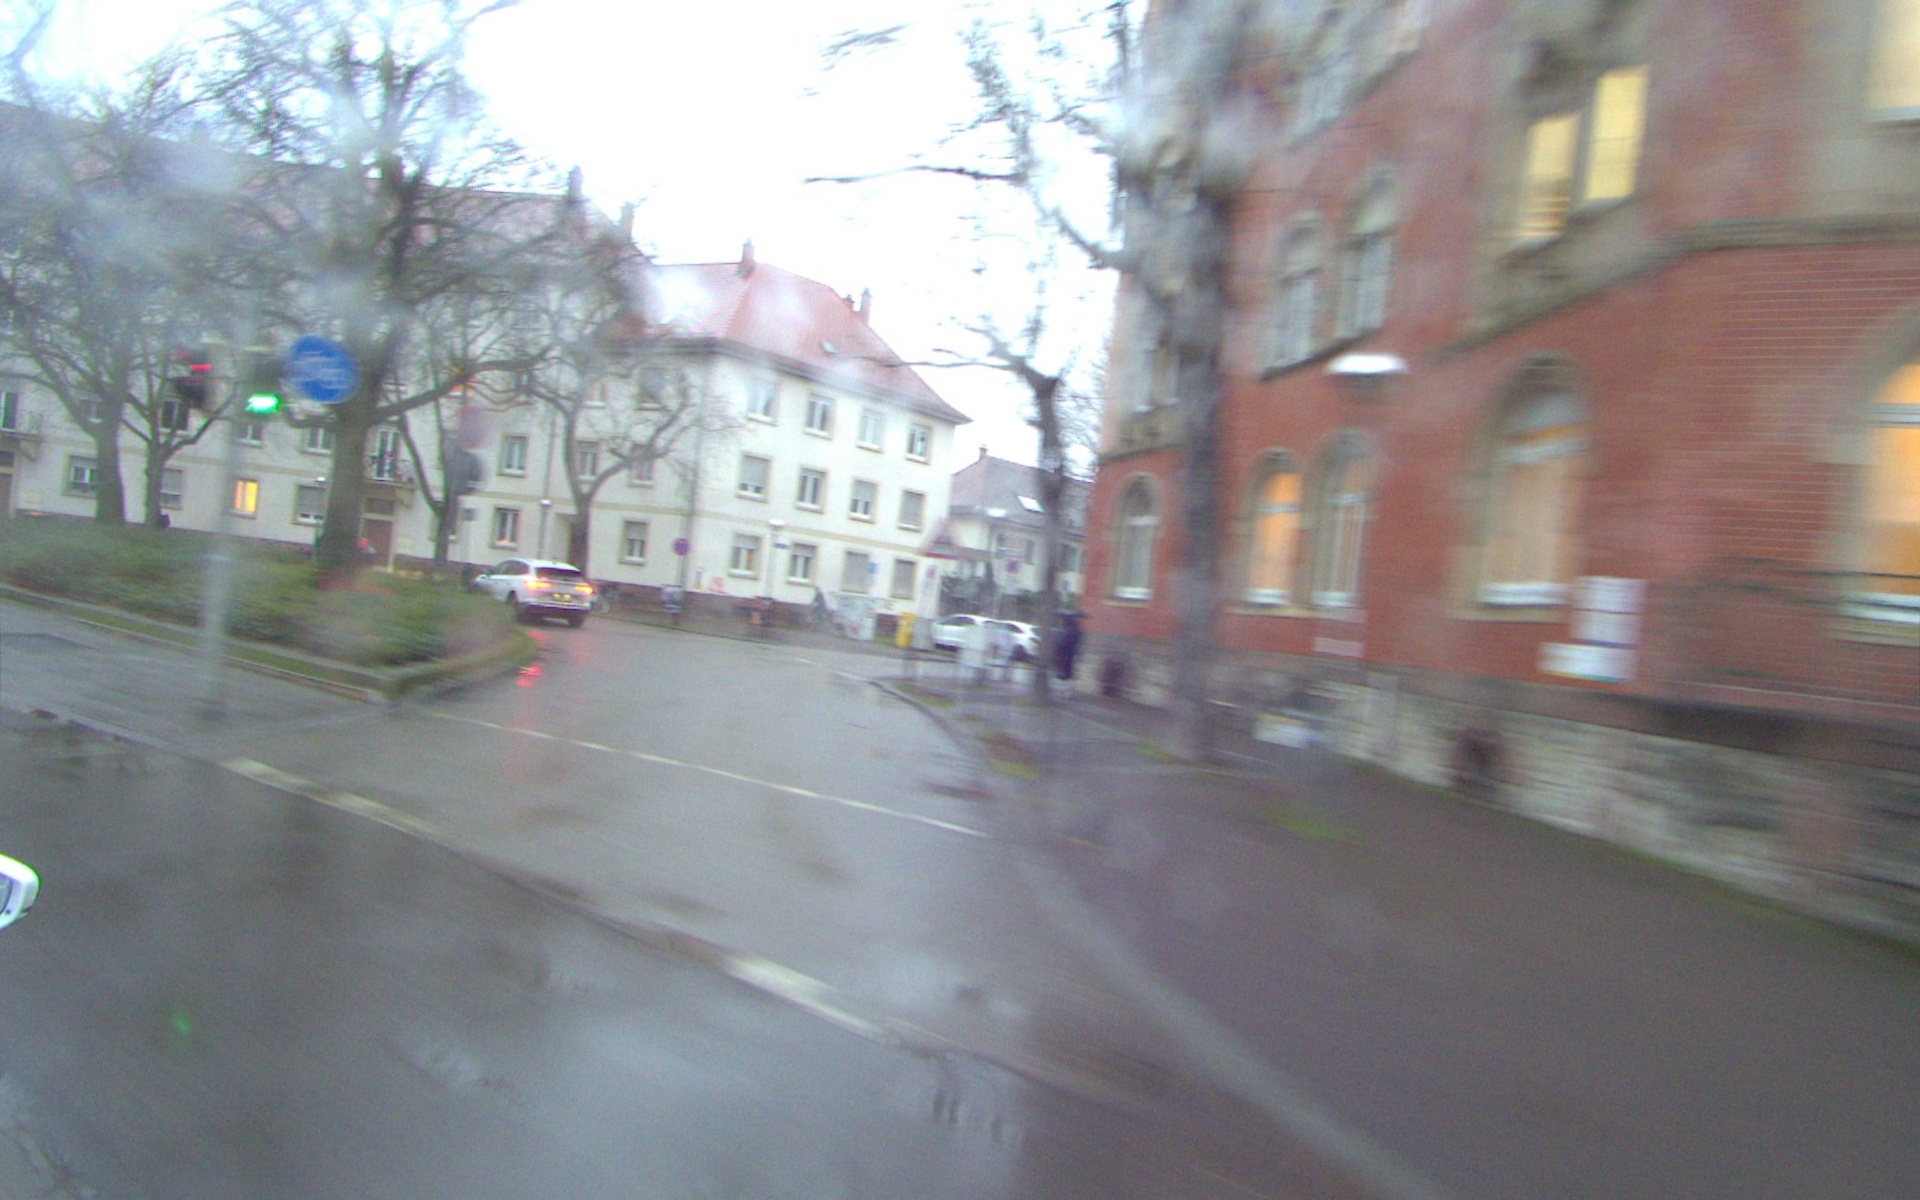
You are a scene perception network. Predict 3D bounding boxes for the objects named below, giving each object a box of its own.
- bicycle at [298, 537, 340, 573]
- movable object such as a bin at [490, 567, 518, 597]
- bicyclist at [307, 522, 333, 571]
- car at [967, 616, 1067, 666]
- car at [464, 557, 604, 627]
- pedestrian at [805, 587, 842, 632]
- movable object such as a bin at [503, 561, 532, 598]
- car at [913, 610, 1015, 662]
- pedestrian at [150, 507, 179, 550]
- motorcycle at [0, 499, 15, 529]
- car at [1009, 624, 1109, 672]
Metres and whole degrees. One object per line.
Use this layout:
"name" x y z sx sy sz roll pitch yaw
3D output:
"bicycle" -26.337 -1.860 41.295 1.880 1.307 0.467 6 0 27
"movable object such as a bin" -16.546 -0.652 36.504 0.638 0.993 0.529 6 0 15
"bicyclist" -26.270 -2.192 41.291 0.667 1.910 0.467 6 0 27
"car" 2.206 1.599 40.133 1.834 1.493 3.963 7 -1 -35
"car" -11.358 -0.256 26.625 1.886 1.528 4.700 7 -2 -42
"pedestrian" -5.584 0.393 41.117 0.750 1.662 1.116 6 0 42
"movable object such as a bin" -15.905 -0.737 36.161 0.638 1.243 0.529 6 0 15
"car" 0.096 1.350 38.628 1.834 1.504 3.963 7 -1 -35
"pedestrian" -32.778 -2.942 41.443 0.707 1.681 0.683 6 1 -29
"motorcycle" -37.798 -3.415 39.000 1.576 1.120 0.568 7 2 -9
"car" 4.033 1.965 41.521 1.834 1.493 3.963 7 -1 -35
